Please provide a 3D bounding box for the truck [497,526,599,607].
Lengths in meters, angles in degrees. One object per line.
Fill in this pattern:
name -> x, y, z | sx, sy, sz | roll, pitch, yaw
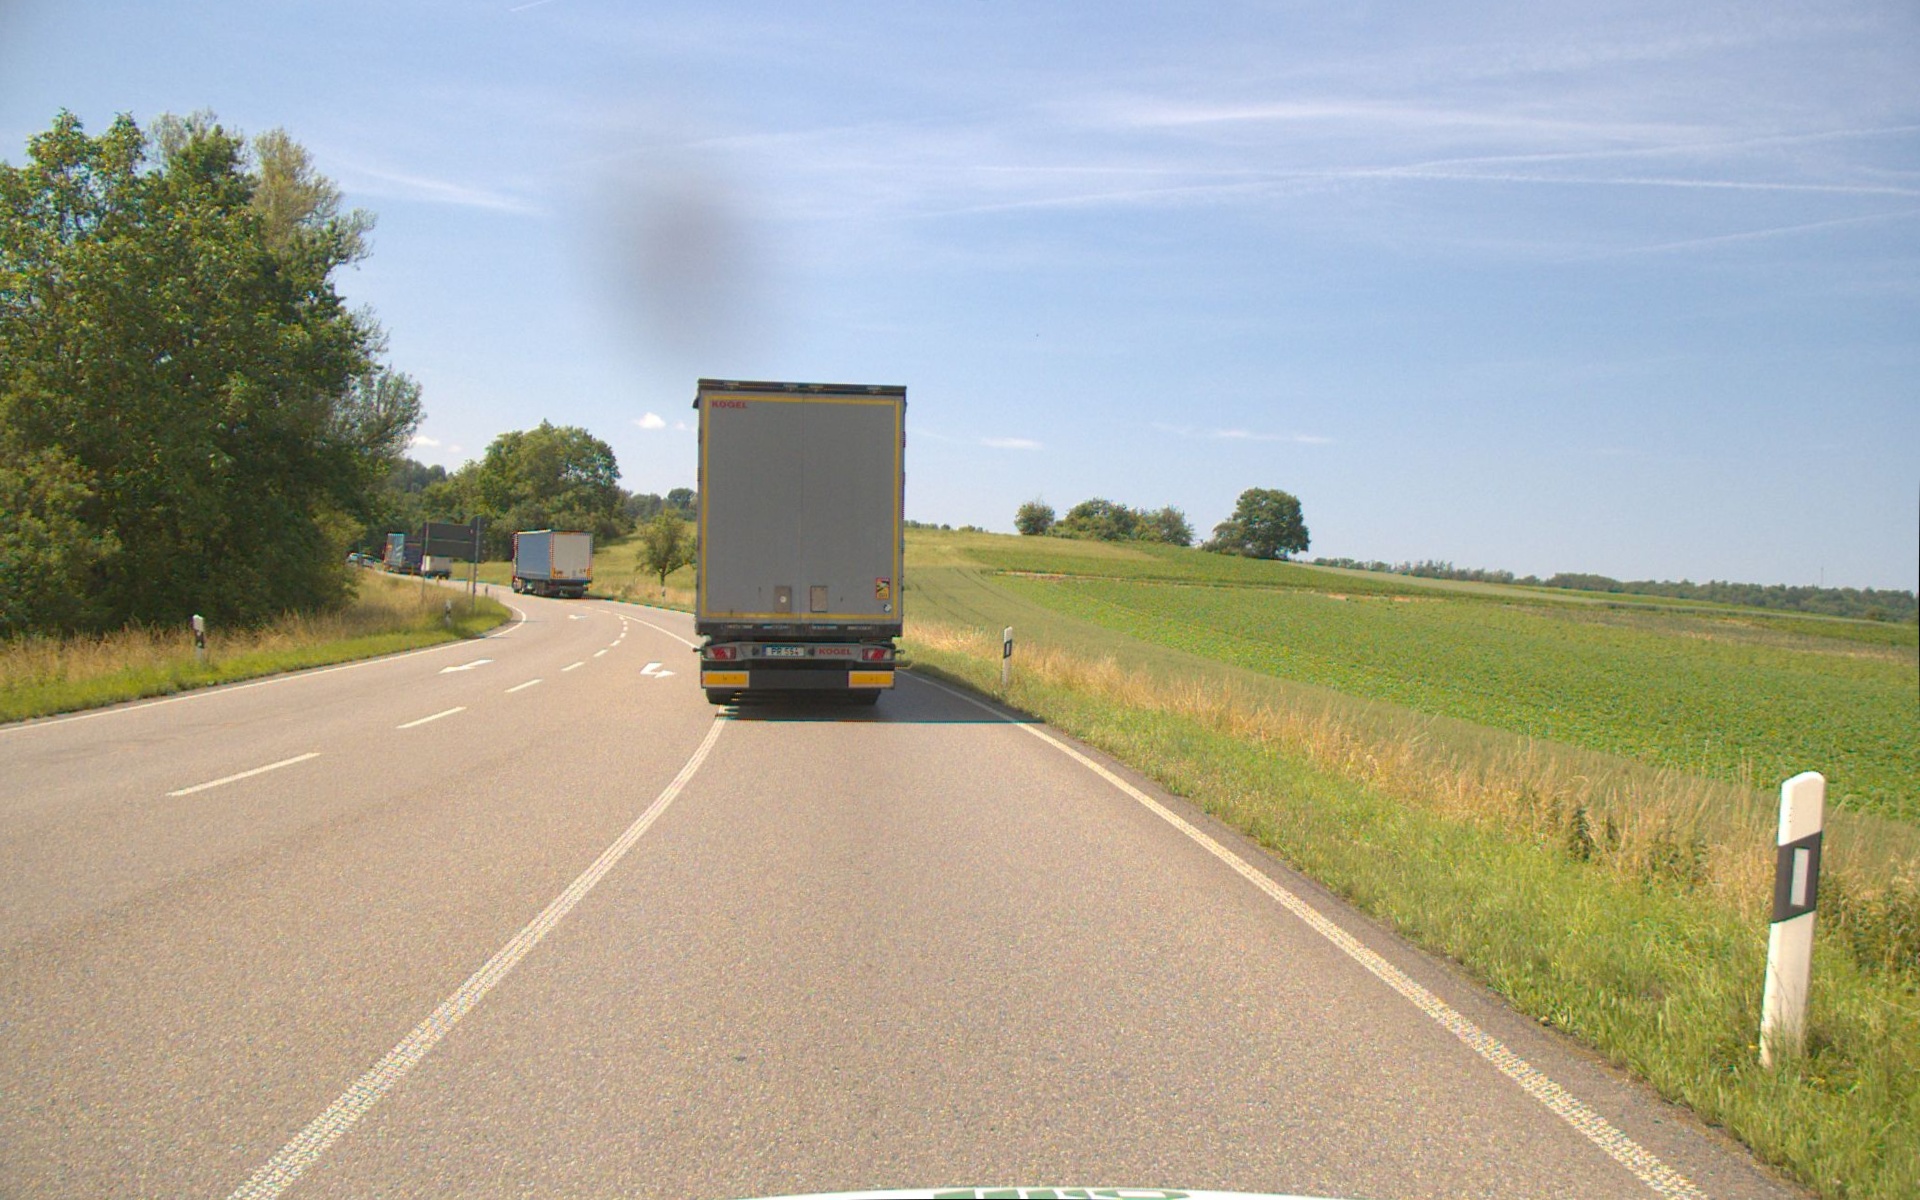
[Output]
truck -> -26.739, -2.064, 106.425 | 2.925, 4.664, 16.180 | 3, -1, -26

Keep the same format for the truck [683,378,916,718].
truck -> -2.490, -0.639, 24.521 | 2.755, 4.015, 9.575 | 0, 0, -7

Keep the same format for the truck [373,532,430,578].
truck -> -59.503, -4.690, 175.891 | 3.489, 4.315, 13.283 | 4, -2, -28

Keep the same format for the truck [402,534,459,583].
truck -> -51.782, -4.002, 161.586 | 3.590, 4.201, 12.996 | 4, -2, -24
